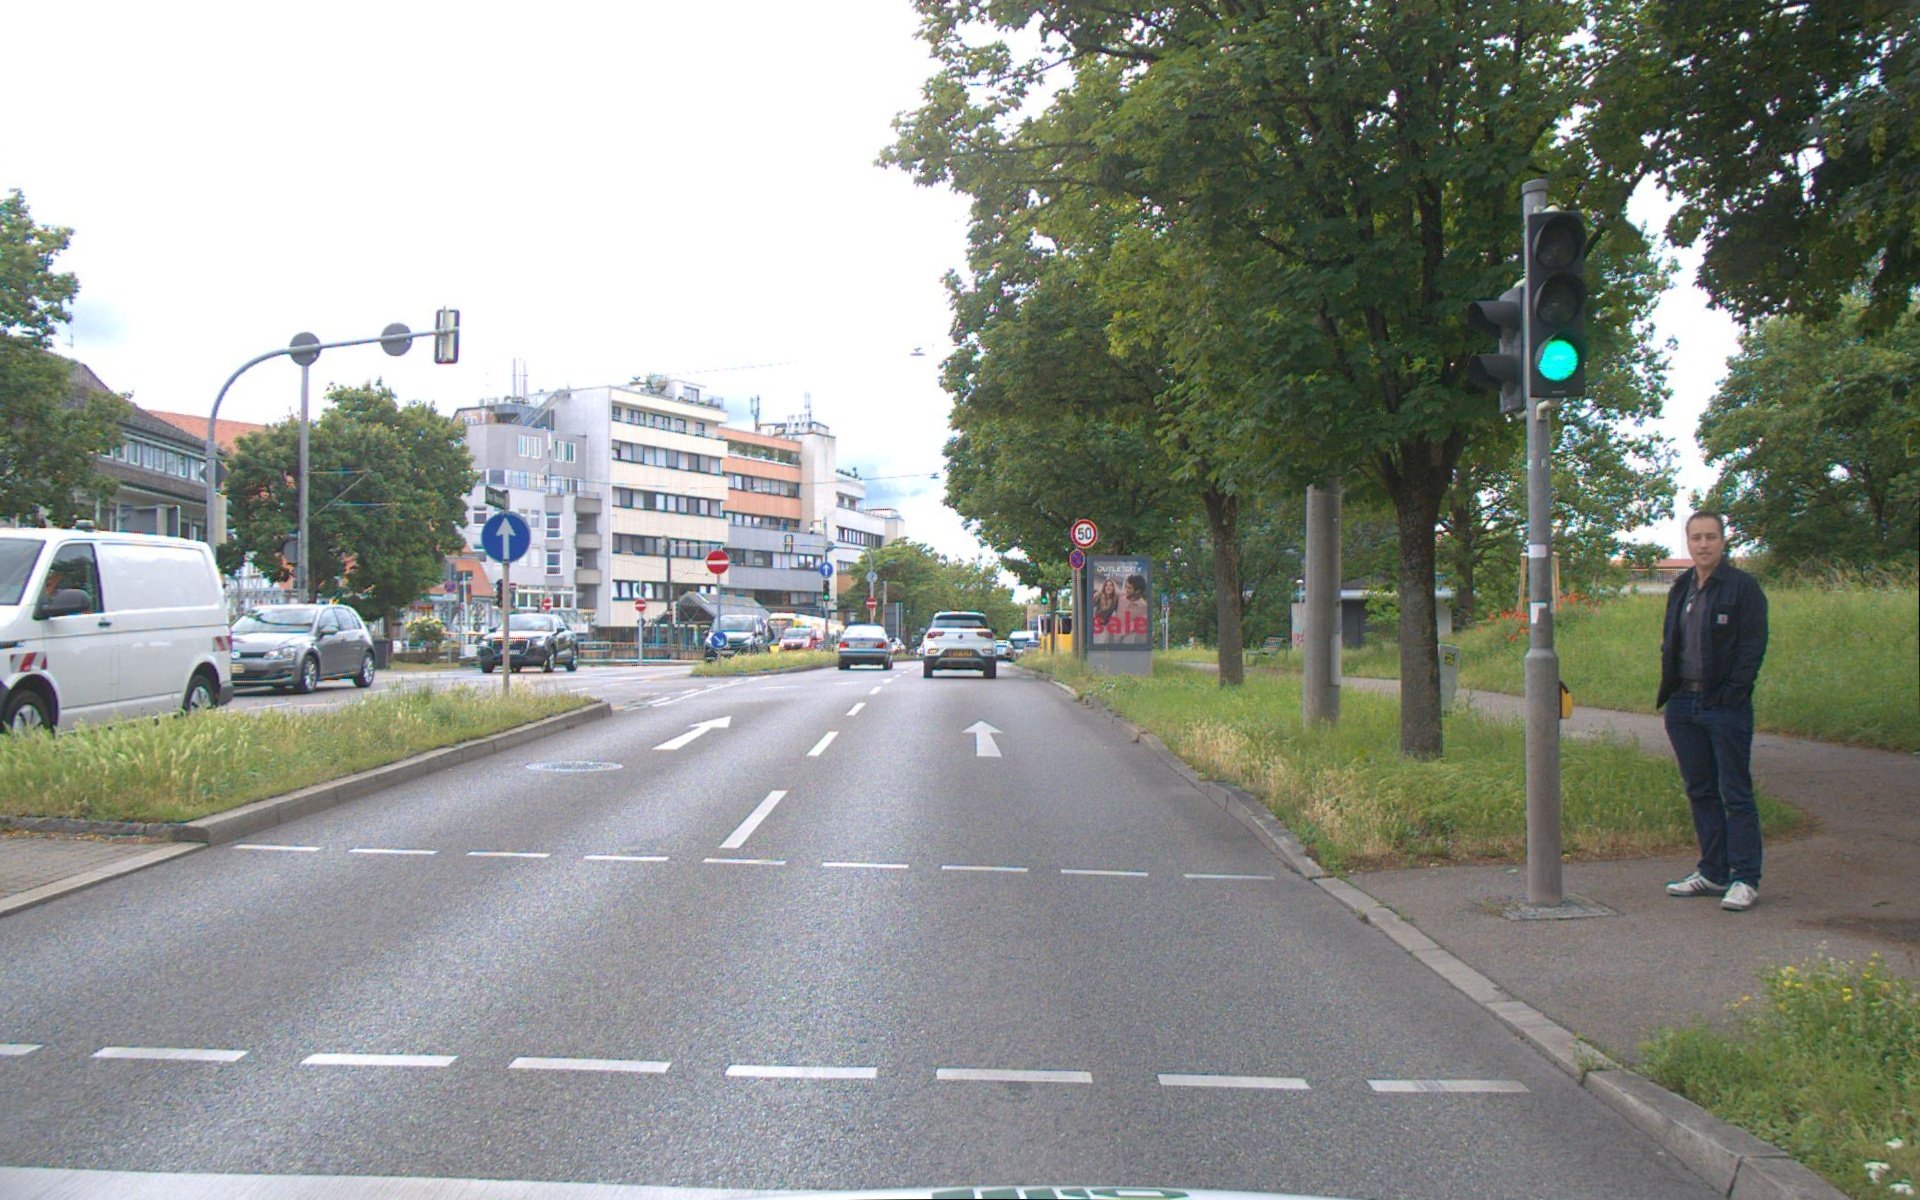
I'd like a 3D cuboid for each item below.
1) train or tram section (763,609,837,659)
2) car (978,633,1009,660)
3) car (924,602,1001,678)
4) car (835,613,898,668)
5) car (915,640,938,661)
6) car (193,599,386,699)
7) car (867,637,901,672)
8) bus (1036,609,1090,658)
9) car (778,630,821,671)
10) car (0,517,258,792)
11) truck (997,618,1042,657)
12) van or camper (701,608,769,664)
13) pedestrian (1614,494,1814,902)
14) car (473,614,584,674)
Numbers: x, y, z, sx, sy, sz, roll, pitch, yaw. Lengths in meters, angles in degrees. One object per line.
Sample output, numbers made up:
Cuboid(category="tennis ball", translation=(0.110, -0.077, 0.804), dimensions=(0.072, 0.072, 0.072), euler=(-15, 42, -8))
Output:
Cuboid(category="train or tram section", translation=(-11.776, 2.598, 123.071), dimensions=(2.505, 3.471, 13.090), euler=(-1, -2, 8))
Cuboid(category="car", translation=(2.271, 3.176, 113.016), dimensions=(1.735, 1.598, 4.283), euler=(0, 1, -3))
Cuboid(category="car", translation=(0.108, 0.937, 40.351), dimensions=(1.664, 1.575, 3.738), euler=(3, 1, 2))
Cuboid(category="car", translation=(-2.936, 1.266, 52.549), dimensions=(1.664, 1.542, 3.738), euler=(0, 2, 2))
Cuboid(category="car", translation=(-2.438, 3.757, 121.949), dimensions=(1.581, 1.471, 3.652), euler=(-1, -3, 0))
Cuboid(category="car", translation=(-11.031, 0.774, 27.506), dimensions=(1.709, 1.490, 3.997), euler=(-1, -1, -3))
Cuboid(category="car", translation=(-4.882, 3.512, 106.793), dimensions=(1.953, 1.617, 4.838), euler=(1, 5, 0))
Cuboid(category="bus", translation=(7.177, 2.315, 114.063), dimensions=(2.891, 3.247, 9.935), euler=(0, -2, 9))
Cuboid(category="car", translation=(-9.251, 2.900, 95.661), dimensions=(1.953, 2.048, 4.835), euler=(1, 1, 0))
Cuboid(category="car", translation=(-7.974, 0.371, 14.187), dimensions=(1.798, 2.037, 4.858), euler=(1, 1, 0))
Cuboid(category="truck", translation=(6.816, 4.277, 186.711), dimensions=(2.891, 4.152, 16.614), euler=(0, -2, 10))
Cuboid(category="van or camper", translation=(-8.258, 1.328, 61.106), dimensions=(1.887, 1.972, 5.246), euler=(1, -1, -1))
Cuboid(category="pedestrian", translation=(3.635, 0.449, 8.016), dimensions=(0.630, 1.888, 0.672), euler=(0, 0, -7))
Cuboid(category="car", translation=(-11.111, 1.096, 42.816), dimensions=(1.823, 1.453, 4.000), euler=(0, 0, 0))
